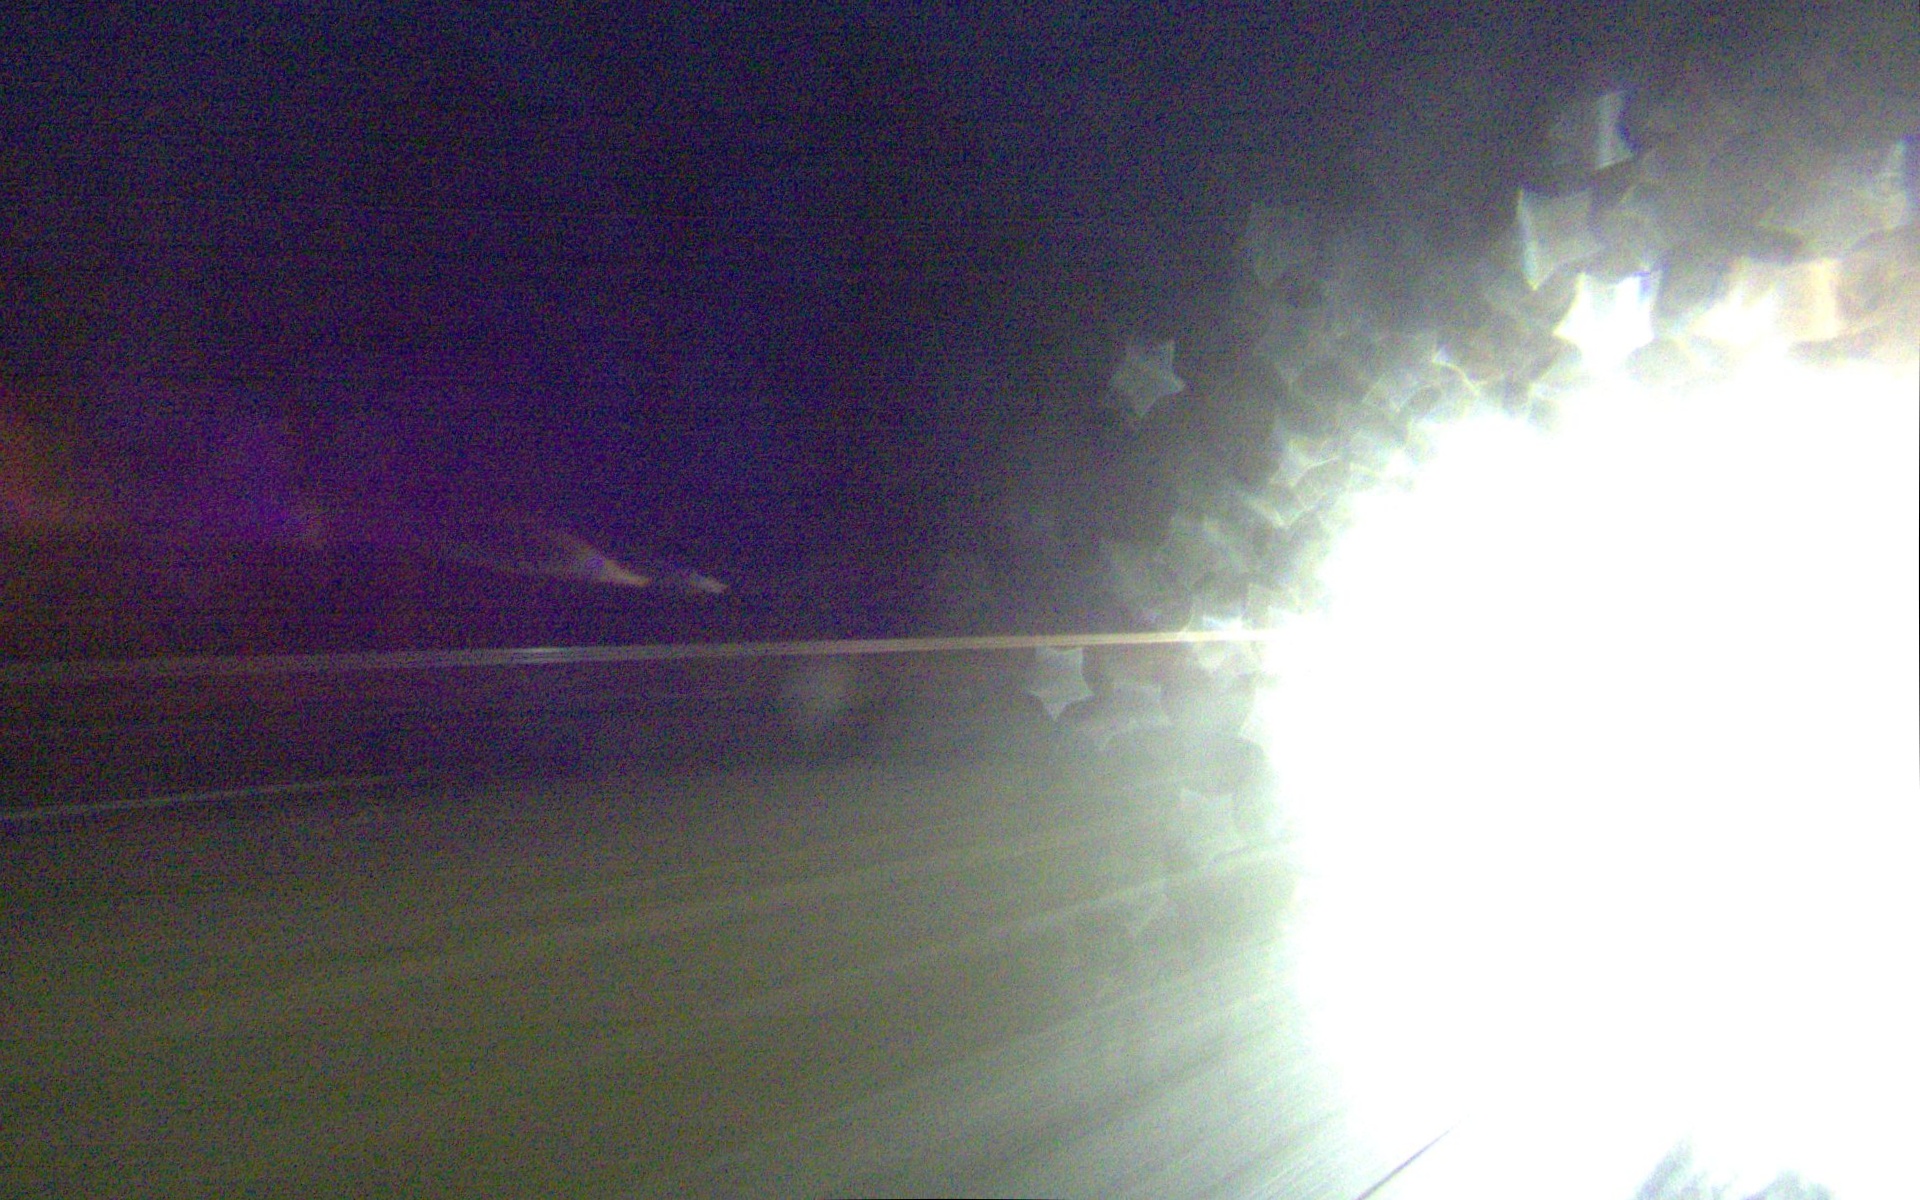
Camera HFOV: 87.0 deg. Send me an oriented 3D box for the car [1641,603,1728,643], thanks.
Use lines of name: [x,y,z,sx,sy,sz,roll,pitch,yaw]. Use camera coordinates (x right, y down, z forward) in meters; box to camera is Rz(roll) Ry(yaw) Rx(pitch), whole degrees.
car: [30.397,0.950,42.430,4.043,1.610,1.917,0,-2,-39]

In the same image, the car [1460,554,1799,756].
car: [6.776,0.489,10.133,3.612,1.645,1.846,1,-2,-40]

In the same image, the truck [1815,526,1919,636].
truck: [36.198,-0.645,39.922,5.105,4.021,2.780,0,-3,-40]

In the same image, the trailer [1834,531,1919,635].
trailer: [41.856,-0.629,44.585,13.572,4.030,2.744,0,-2,-40]
